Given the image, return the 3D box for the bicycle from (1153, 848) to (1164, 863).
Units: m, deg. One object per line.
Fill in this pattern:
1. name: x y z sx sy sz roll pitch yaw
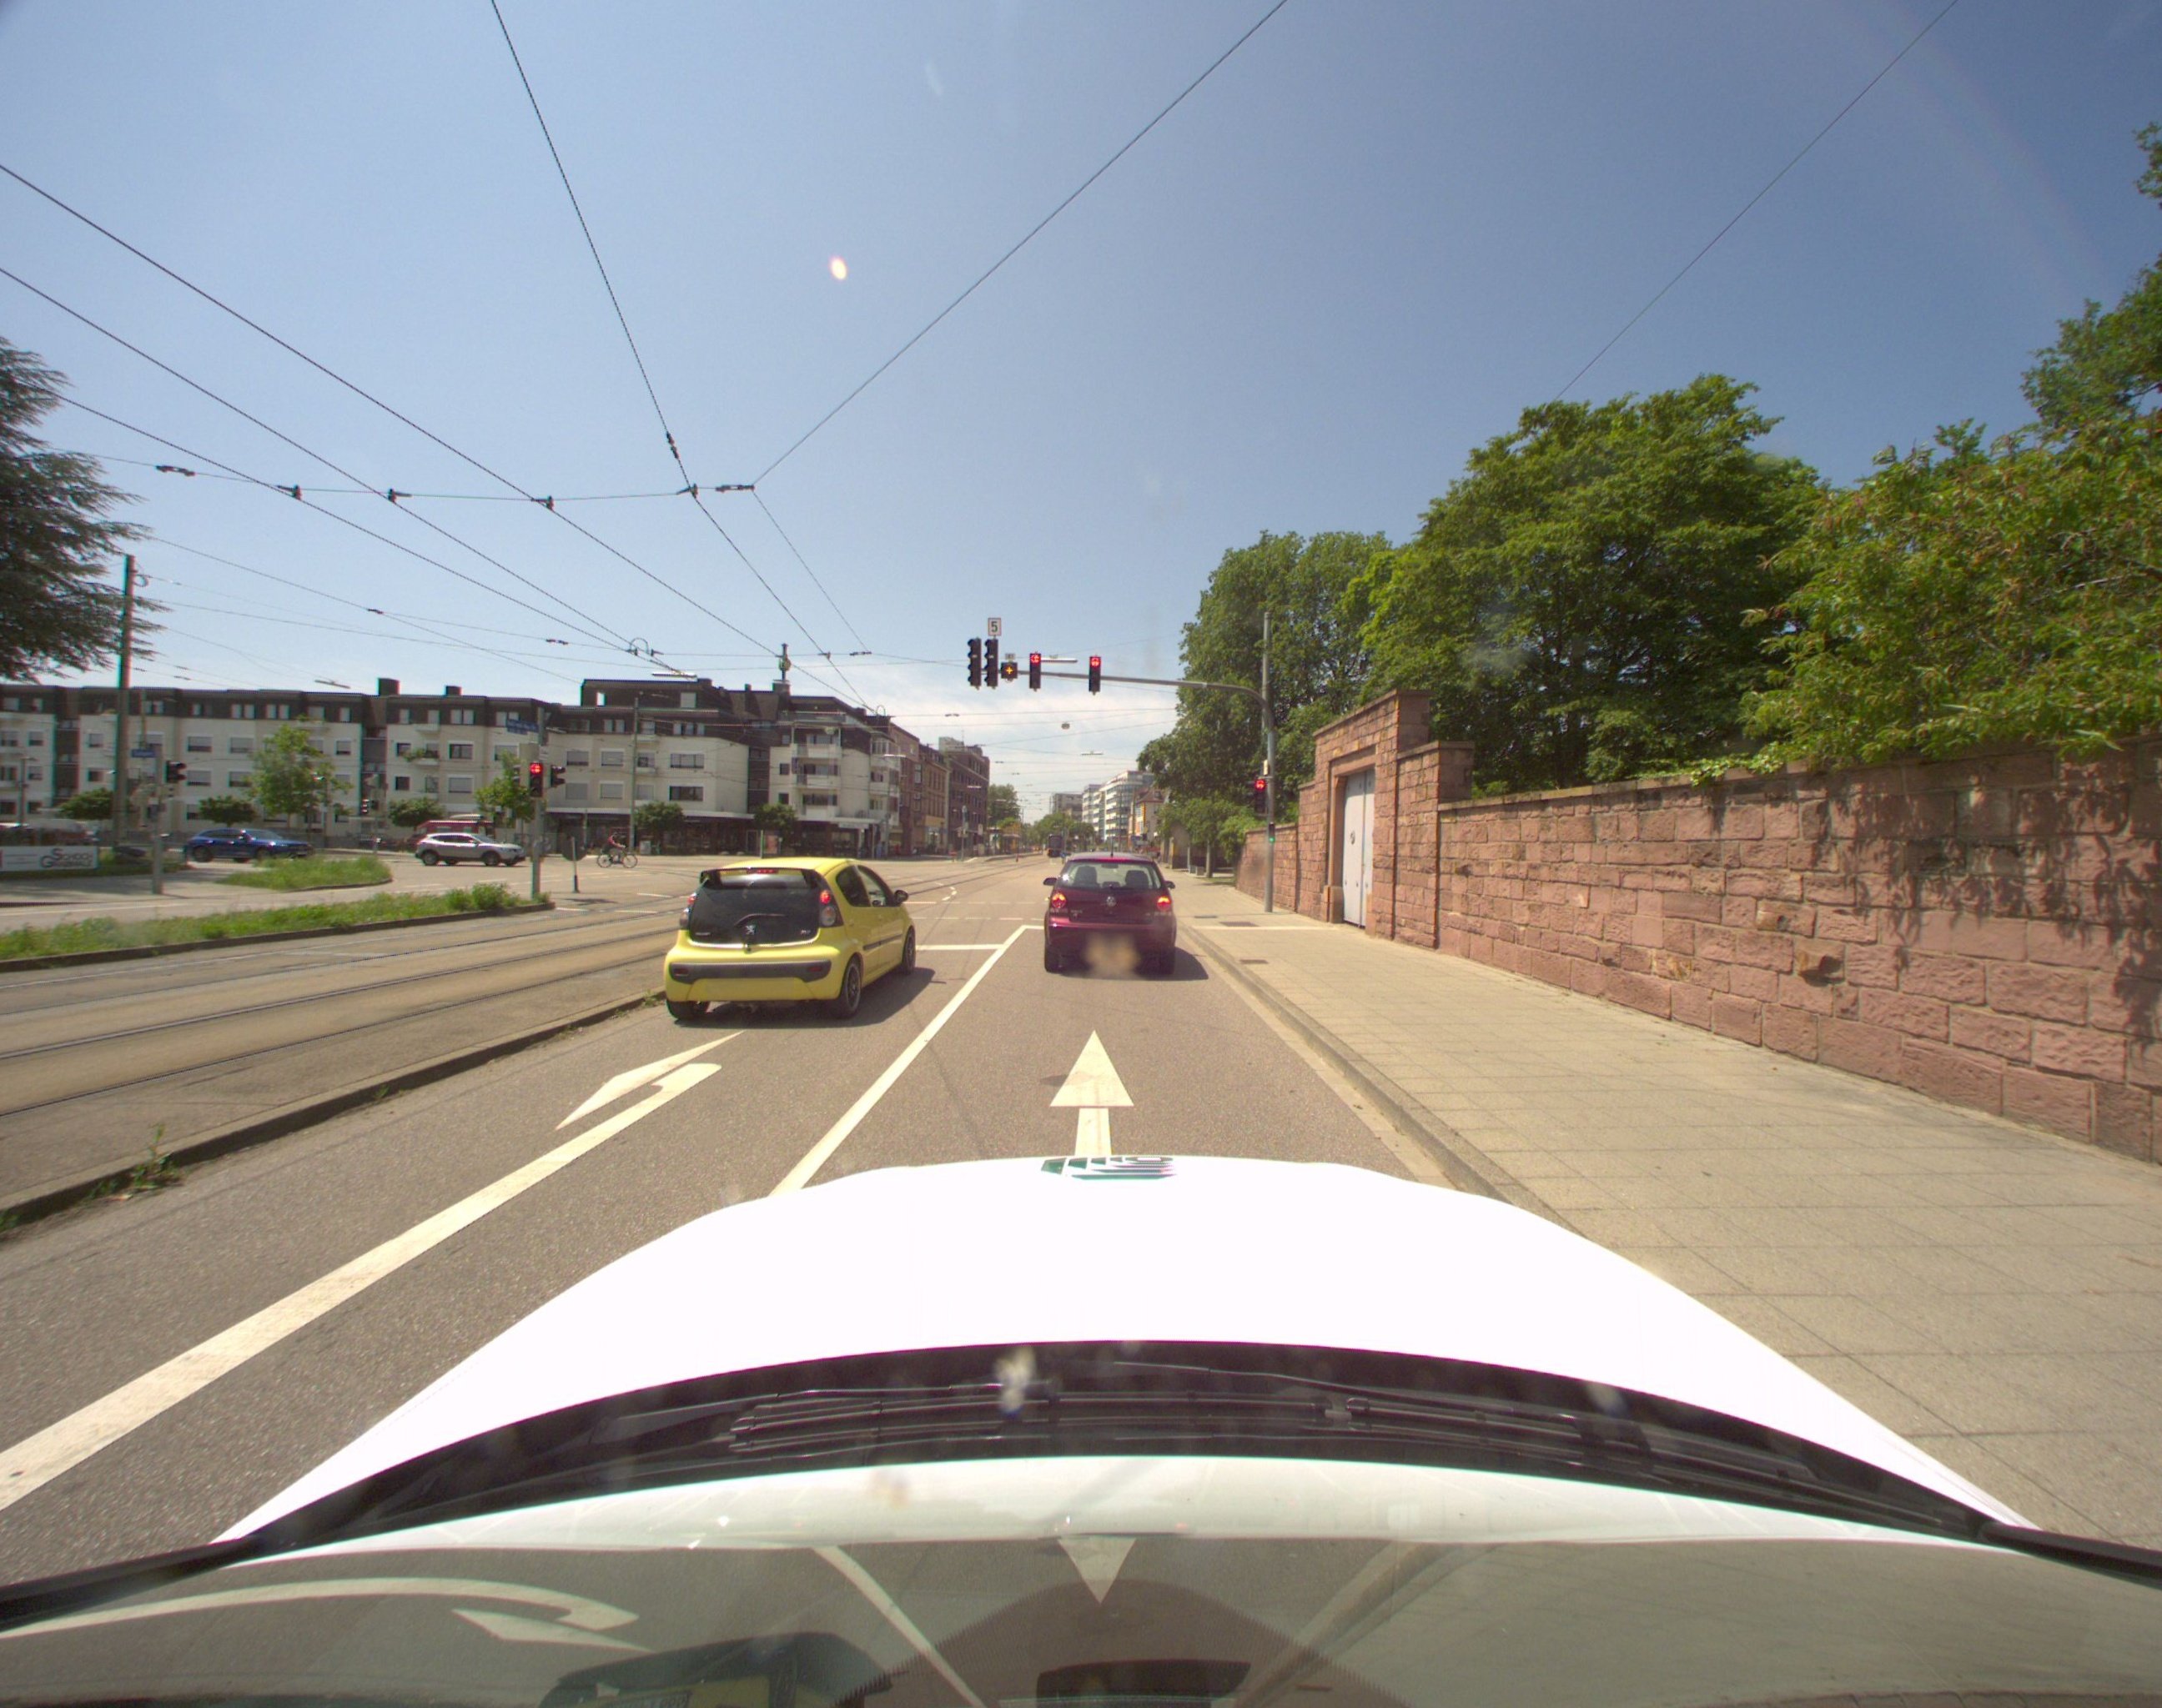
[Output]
1. bicycle: 7.878 0.163 83.242 0.831 1.525 4.001 0 0 2

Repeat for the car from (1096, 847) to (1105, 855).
1. car: 3.633 -0.496 152.257 1.567 1.415 3.721 -1 0 1

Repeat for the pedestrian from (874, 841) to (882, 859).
1. pedestrian: -19.588 -0.367 78.562 0.614 1.754 0.499 1 -1 -43

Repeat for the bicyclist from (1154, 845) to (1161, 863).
1. bicyclist: 7.886 0.024 84.022 0.719 1.818 0.889 0 -1 1

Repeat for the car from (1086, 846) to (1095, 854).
1. car: 2.032 -0.779 174.249 1.774 1.623 3.999 0 0 0

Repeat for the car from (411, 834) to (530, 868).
1. car: -29.323 -0.134 39.245 4.139 1.584 1.932 0 -1 -11

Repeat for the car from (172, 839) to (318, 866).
1. car: -39.425 -0.083 38.513 4.757 1.237 1.938 0 0 -2

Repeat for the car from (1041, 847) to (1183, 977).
1. car: 0.396 0.653 11.433 1.604 1.463 4.086 1 0 1

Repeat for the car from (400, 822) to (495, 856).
1. car: -45.352 -1.057 58.388 5.048 2.341 2.244 0 -1 0

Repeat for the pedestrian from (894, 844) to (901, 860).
1. pedestrian: -18.248 -0.194 80.948 0.480 1.541 0.540 0 -1 16

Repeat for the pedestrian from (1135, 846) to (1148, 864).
1. pedestrian: 5.915 0.103 79.172 0.983 1.661 0.914 1 0 -16

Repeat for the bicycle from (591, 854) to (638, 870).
1. bicycle: -23.448 0.411 40.973 1.987 0.783 0.463 0 -1 -20

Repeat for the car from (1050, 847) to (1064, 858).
1. car: -3.560 -0.183 120.462 1.931 1.641 4.001 0 0 1

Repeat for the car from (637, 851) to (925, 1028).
1. car: -2.851 0.716 8.539 1.717 1.445 3.293 -1 1 1

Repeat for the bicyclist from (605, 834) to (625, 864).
1. bicyclist: -23.444 -0.244 40.975 0.752 1.501 0.479 0 -1 -20

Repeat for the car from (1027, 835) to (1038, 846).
1. car: -9.486 -2.584 157.938 1.728 2.013 4.002 1 0 2
